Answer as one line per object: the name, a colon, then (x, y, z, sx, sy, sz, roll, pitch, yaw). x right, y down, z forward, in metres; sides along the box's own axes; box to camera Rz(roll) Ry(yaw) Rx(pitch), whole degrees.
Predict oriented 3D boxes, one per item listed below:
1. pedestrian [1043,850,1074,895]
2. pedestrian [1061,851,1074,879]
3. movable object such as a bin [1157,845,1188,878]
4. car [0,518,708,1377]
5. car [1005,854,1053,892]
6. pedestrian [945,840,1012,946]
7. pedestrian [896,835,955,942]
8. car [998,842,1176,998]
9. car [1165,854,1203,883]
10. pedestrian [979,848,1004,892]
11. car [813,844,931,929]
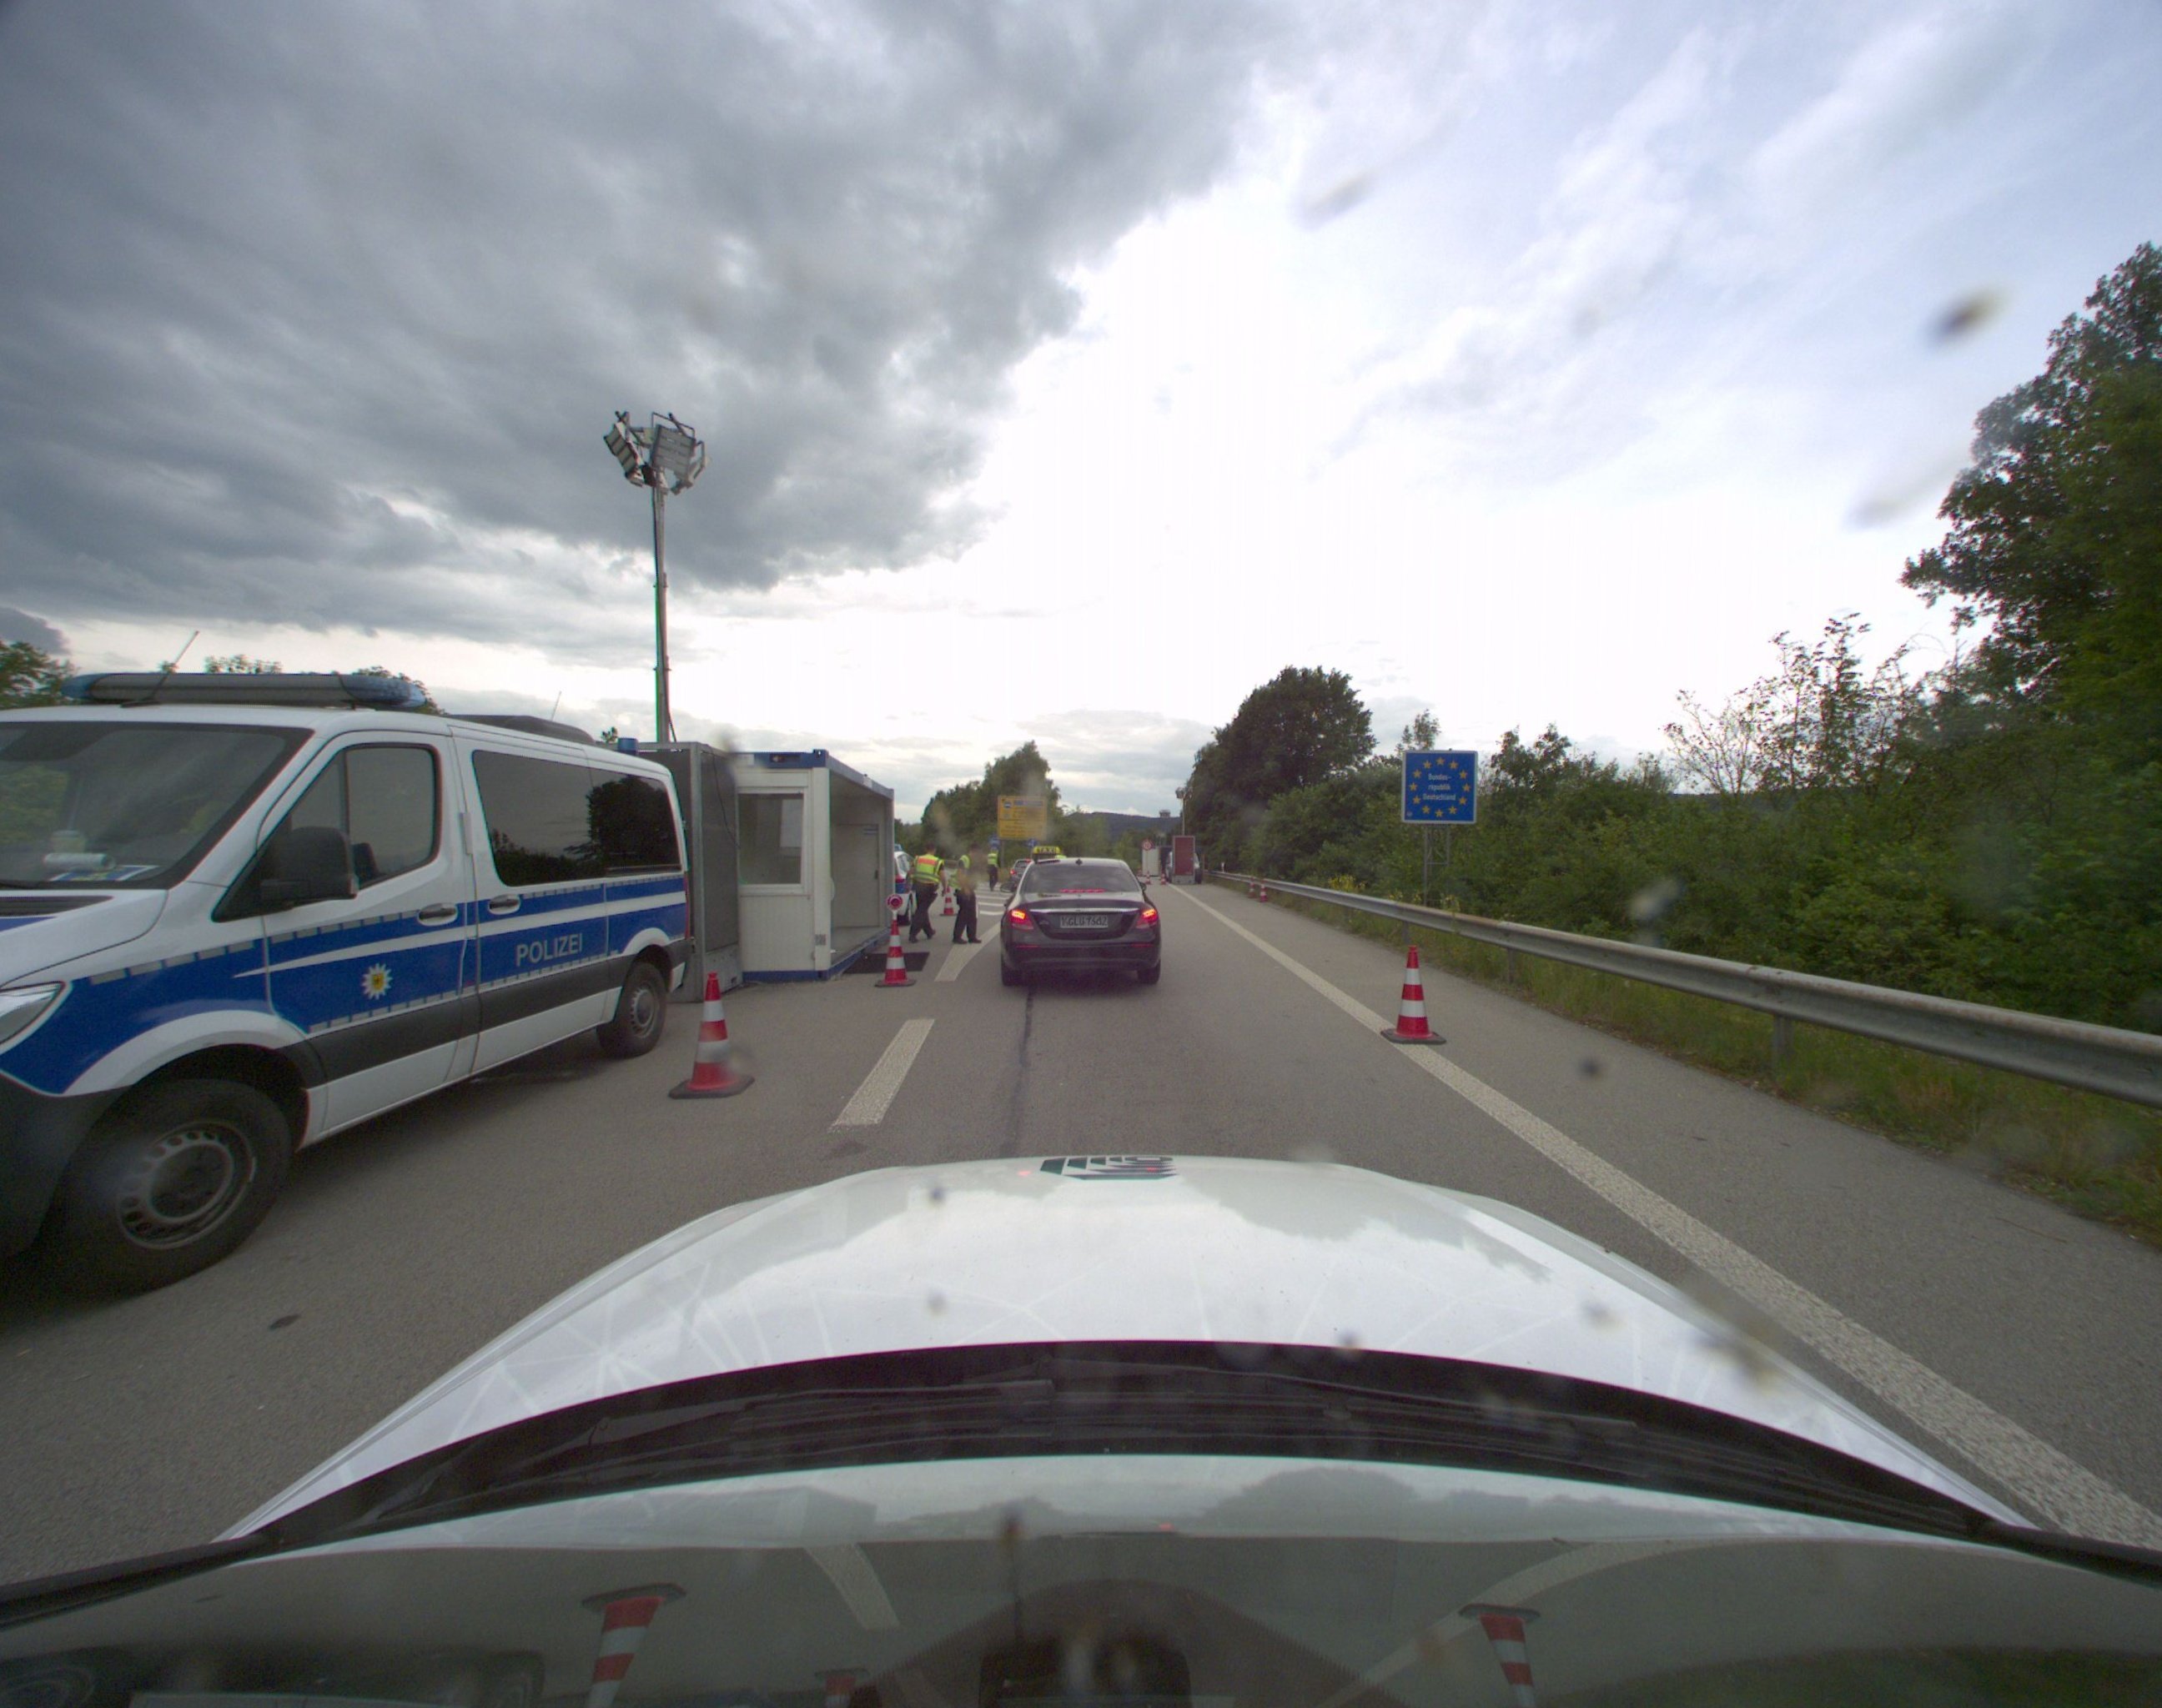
pedestrian: (-0.882, 0.695, 31.610, 0.913, 1.698, 0.906, 0, 0, -25)
pedestrian: (-0.943, 0.760, 58.008, 0.659, 1.961, 0.763, -1, -1, 17)
movable object such as a bin: (6.528, 0.550, 58.431, 1.985, 2.280, 4.171, 0, 0, 3)
car: (-4.196, 0.275, 4.478, 2.024, 2.463, 5.274, 0, 0, -2)
car: (-2.156, 0.750, 34.657, 1.850, 1.498, 4.253, 0, 0, -2)
pedestrian: (-1.741, 0.637, 13.823, 0.807, 1.718, 0.767, -1, -1, 38)
pedestrian: (-2.746, 0.597, 14.434, 0.808, 1.830, 0.811, -1, 0, 5)
car: (-0.059, 0.684, 10.667, 1.851, 1.595, 4.369, 0, 0, -4)
car: (6.206, 0.836, 49.587, 1.909, 1.678, 5.086, 1, 0, 2)
pedestrian: (-3.688, 0.649, 33.582, 0.906, 1.769, 0.913, 0, 0, 0)
car: (-4.708, 0.667, 18.908, 1.865, 1.743, 4.004, 0, 0, -3)
